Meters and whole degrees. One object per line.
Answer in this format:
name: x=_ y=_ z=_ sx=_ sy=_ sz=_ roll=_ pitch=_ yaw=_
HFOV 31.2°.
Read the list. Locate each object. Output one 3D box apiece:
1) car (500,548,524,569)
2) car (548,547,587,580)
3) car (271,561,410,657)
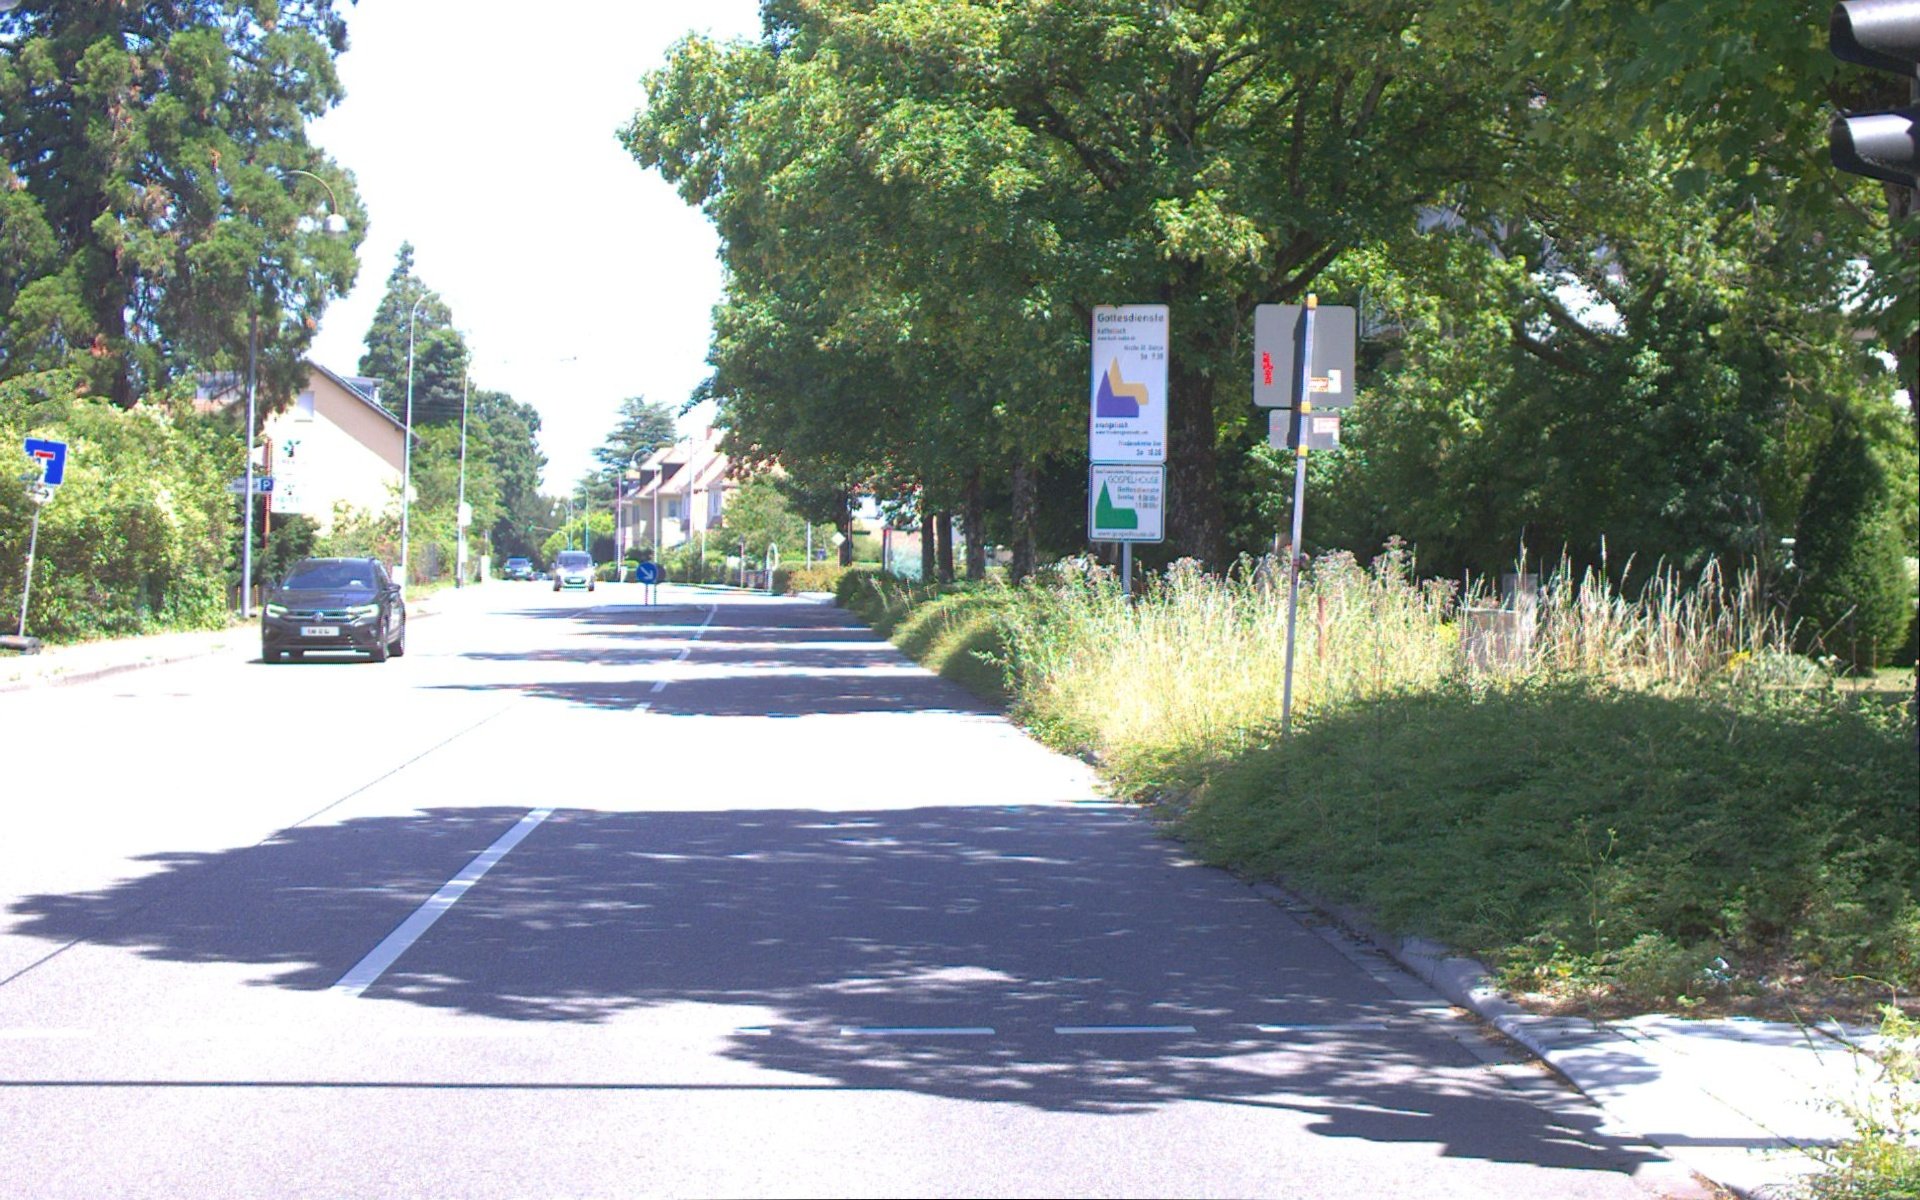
car: x=-30.376 y=-2.820 z=233.319 sx=1.460 sy=1.430 sz=3.184 roll=1 pitch=0 yaw=-5
car: x=-17.395 y=-1.607 z=152.427 sx=1.555 sy=1.443 sz=3.790 roll=1 pitch=0 yaw=-5
car: x=-8.973 y=0.116 z=49.987 sx=1.431 sy=1.318 sz=3.355 roll=1 pitch=0 yaw=-1
